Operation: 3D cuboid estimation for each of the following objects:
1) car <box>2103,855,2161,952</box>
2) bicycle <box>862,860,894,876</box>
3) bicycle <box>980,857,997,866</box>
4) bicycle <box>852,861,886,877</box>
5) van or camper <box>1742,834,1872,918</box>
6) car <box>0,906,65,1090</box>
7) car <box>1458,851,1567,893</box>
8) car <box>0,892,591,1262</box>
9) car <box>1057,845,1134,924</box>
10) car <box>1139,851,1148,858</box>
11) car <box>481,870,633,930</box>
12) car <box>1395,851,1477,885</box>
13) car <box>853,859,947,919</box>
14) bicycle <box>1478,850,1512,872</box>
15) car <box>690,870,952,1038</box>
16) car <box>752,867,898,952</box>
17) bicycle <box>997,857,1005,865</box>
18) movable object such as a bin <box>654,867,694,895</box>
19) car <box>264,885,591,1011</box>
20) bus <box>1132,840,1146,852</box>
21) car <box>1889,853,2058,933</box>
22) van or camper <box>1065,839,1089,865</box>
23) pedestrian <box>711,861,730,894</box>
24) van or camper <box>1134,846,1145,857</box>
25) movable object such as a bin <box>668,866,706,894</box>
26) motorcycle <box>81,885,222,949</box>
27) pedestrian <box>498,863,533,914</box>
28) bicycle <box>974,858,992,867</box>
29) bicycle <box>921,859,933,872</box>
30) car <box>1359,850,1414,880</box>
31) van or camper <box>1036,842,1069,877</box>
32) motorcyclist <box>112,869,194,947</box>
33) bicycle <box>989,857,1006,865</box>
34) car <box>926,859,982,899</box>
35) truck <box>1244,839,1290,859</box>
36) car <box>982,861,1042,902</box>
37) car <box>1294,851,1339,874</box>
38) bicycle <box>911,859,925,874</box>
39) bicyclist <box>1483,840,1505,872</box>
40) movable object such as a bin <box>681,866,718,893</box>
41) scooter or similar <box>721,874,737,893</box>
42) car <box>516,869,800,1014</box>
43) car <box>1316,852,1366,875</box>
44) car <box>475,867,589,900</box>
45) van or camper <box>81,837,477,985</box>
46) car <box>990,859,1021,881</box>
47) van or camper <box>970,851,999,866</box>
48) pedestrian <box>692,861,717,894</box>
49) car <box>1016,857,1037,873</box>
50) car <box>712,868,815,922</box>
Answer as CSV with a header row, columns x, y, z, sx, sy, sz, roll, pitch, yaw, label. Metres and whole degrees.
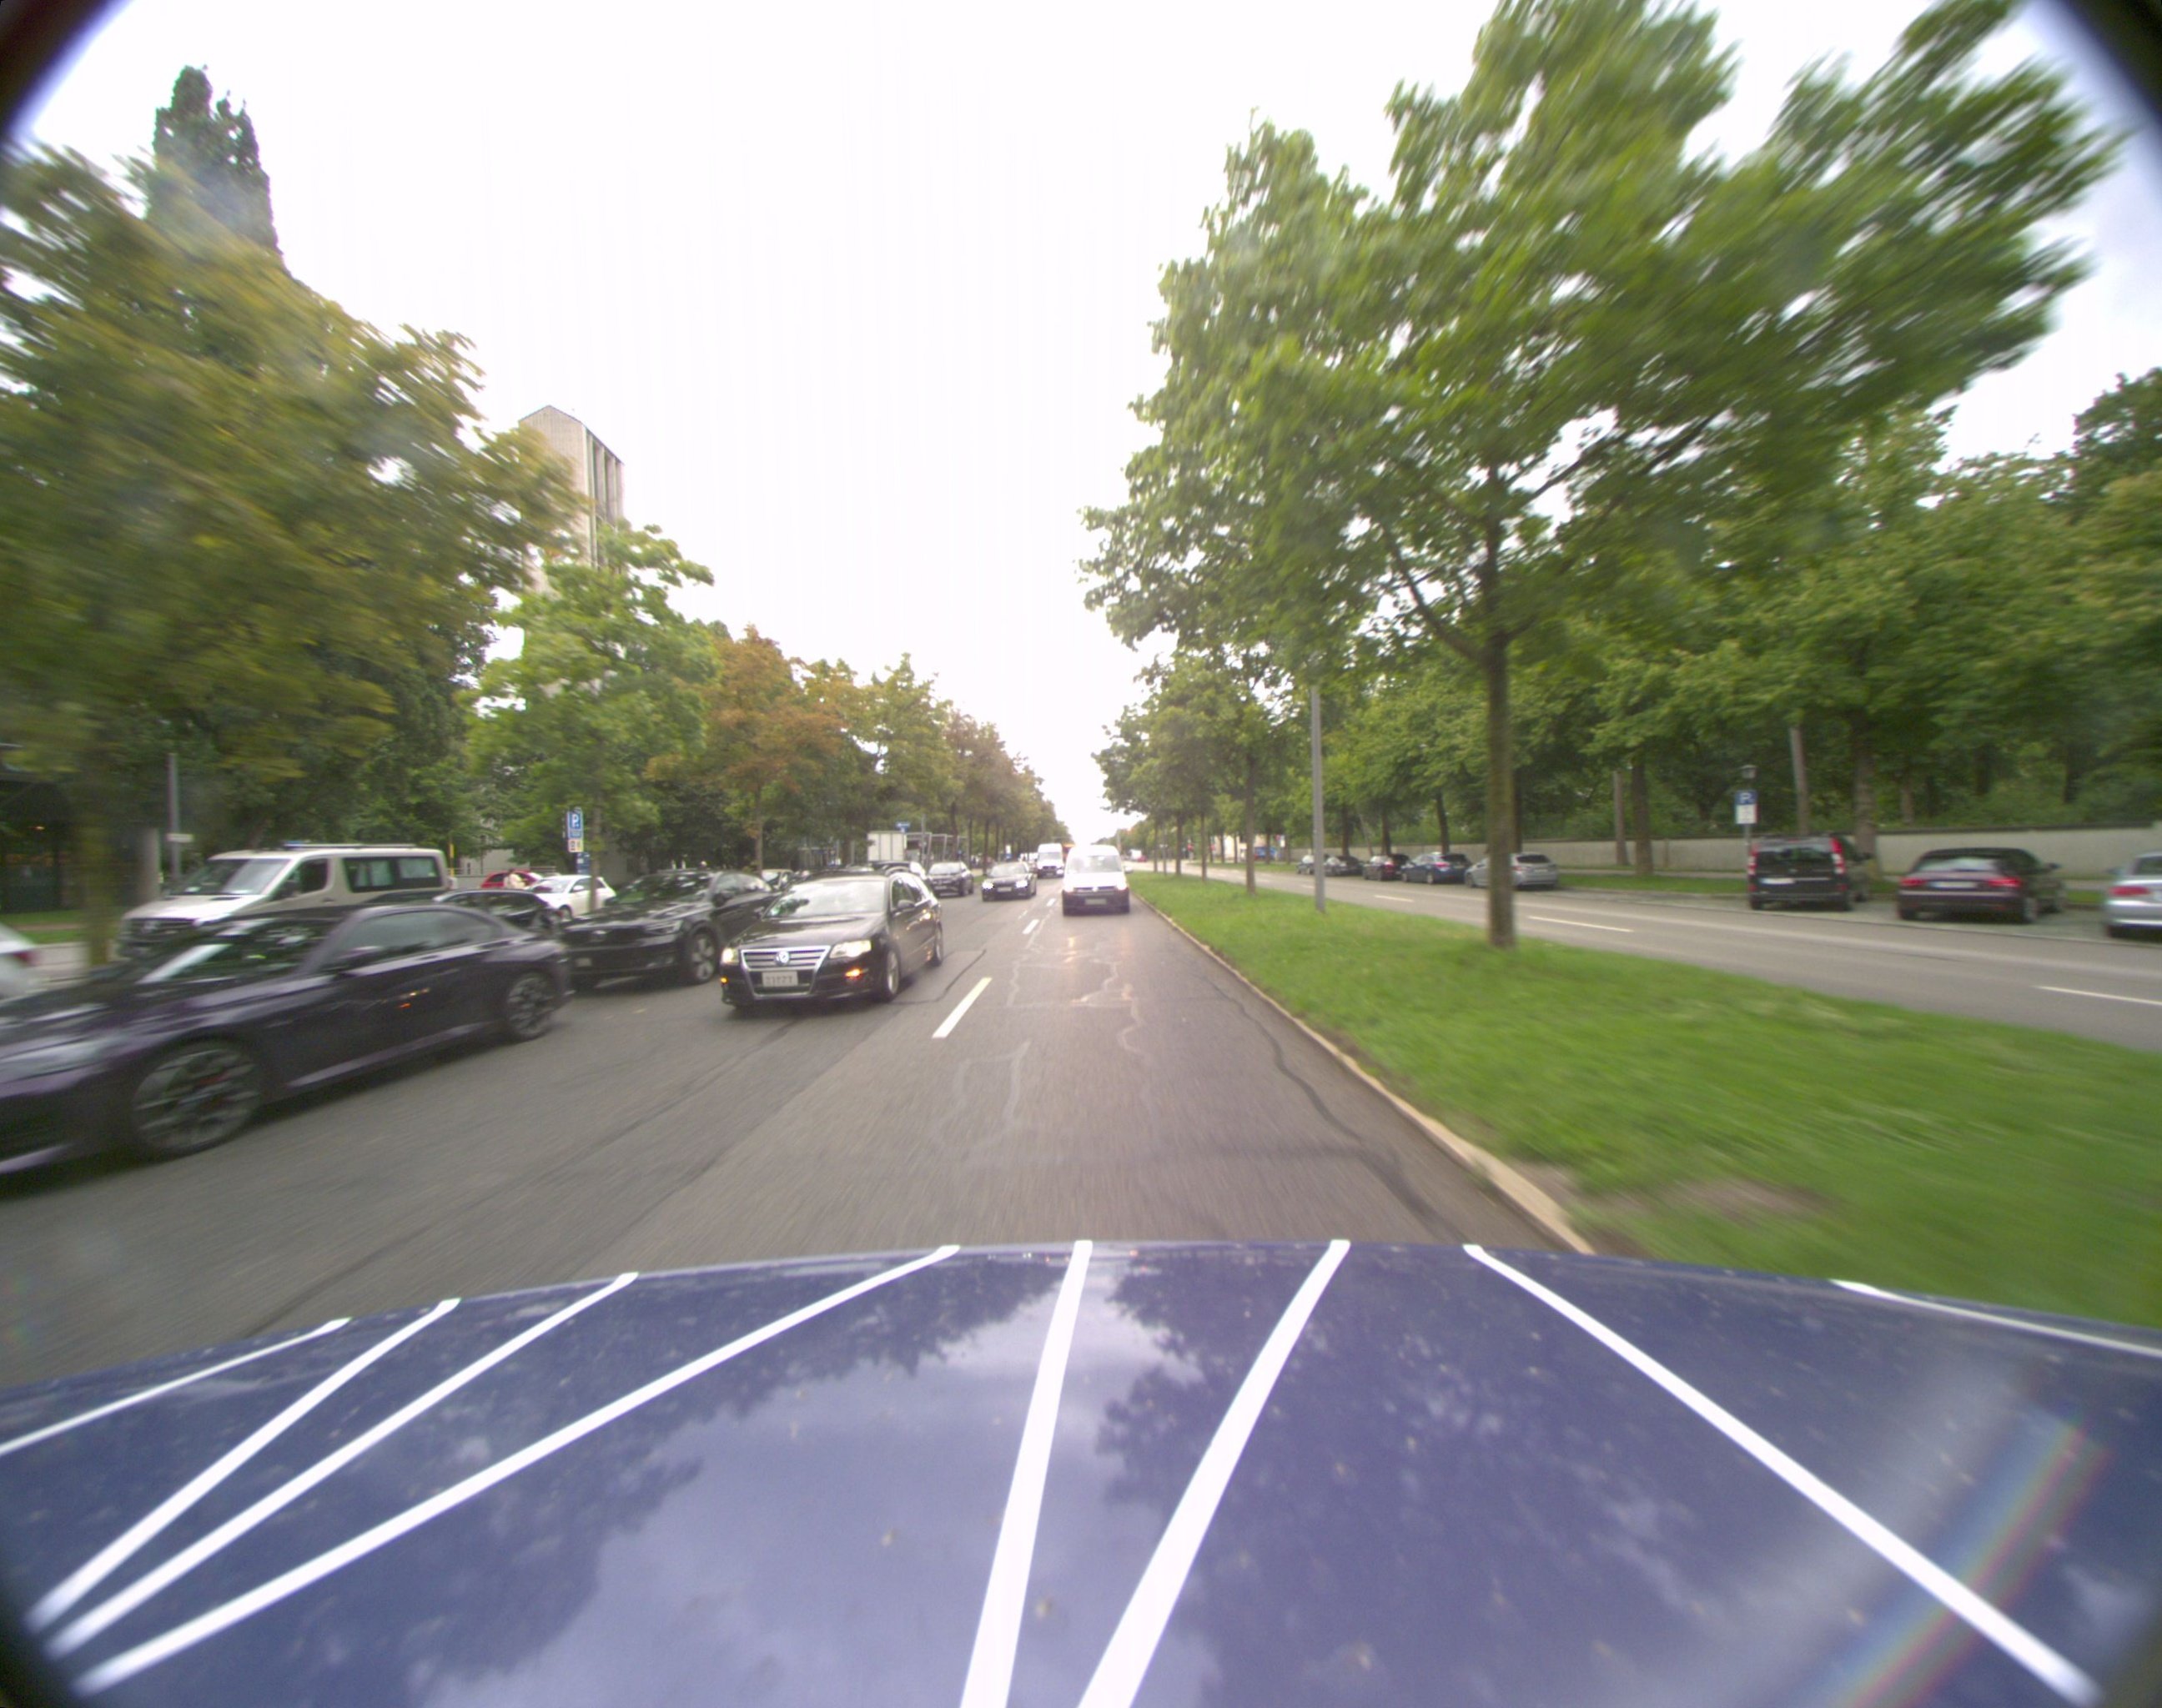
x,y,z,sx,sy,sz,roll,pitch,yaw,label
17.801,0.727,11.949,4.007,1.346,1.846,-1,0,-34,car
-17.825,1.233,66.751,2.548,1.273,0.647,-1,1,1,bicycle
-13.249,1.070,108.350,2.344,1.151,0.529,1,0,0,bicycle
-17.468,1.241,62.563,2.548,1.273,0.647,-1,1,1,bicycle
17.991,0.461,18.769,4.133,1.844,1.845,-2,0,-40,van or camper
-10.325,1.297,5.042,1.688,1.576,4.009,-2,0,1,car
16.841,0.655,29.946,1.640,1.430,4.809,-3,0,2,car
-6.030,1.197,5.690,1.769,1.537,4.424,-2,0,1,car
0.375,0.718,20.163,1.752,1.809,4.671,-2,0,1,car
13.820,0.068,167.638,1.747,1.443,4.657,1,0,1,car
-16.571,1.394,24.335,1.998,1.641,4.000,-1,0,1,car
16.913,0.626,36.480,1.590,1.450,4.798,-3,0,0,car
-5.770,1.059,24.860,1.766,1.691,4.820,-2,0,2,car
22.784,0.375,41.832,0.715,1.154,2.116,-1,0,1,bicycle
-2.944,1.029,9.777,1.752,1.466,4.671,-2,0,-1,car
-5.913,1.204,18.160,1.726,1.642,4.390,-2,0,4,car
-12.700,1.096,120.925,0.863,1.191,2.000,0,0,5,bicycle
-21.311,1.410,39.784,1.339,1.401,1.314,-1,1,-1,movable object such as a bin
-10.048,1.340,12.192,1.752,1.470,4.008,-2,0,-1,car
16.559,-2.227,217.827,2.752,3.324,12.047,0,0,-1,bus
18.082,0.709,15.369,3.626,1.346,1.749,-2,0,-33,car
-0.484,-0.278,97.367,2.780,3.219,7.074,-1,0,1,van or camper
-18.879,1.232,39.793,0.540,1.711,0.987,1,1,1,pedestrian
14.003,-0.594,181.718,2.183,2.631,6.951,0,0,1,van or camper
-21.311,1.407,41.134,1.339,1.401,1.314,-1,1,-1,movable object such as a bin
-21.662,1.441,17.785,0.697,1.283,2.066,3,0,1,motorcycle
-19.845,1.191,26.672,0.576,1.741,0.732,-1,1,5,pedestrian
-13.501,1.169,104.945,2.344,1.151,0.529,1,0,0,bicycle
-15.353,1.127,75.836,0.646,1.273,2.550,-1,0,1,bicycle
16.773,0.579,41.872,1.574,1.494,4.304,-3,0,5,car
-2.171,0.432,59.836,2.183,2.546,7.074,-1,0,1,van or camper
-21.645,1.232,17.746,0.693,1.727,0.953,3,1,1,motorcyclist
-12.202,1.076,111.314,2.344,1.151,0.585,1,0,0,bicycle
-5.674,1.081,34.516,1.766,1.580,4.452,-2,0,0,car
34.768,-0.982,142.224,7.817,3.468,2.772,-1,0,2,truck
-2.675,1.037,30.463,1.819,1.421,4.671,-2,0,1,car
17.267,0.591,56.048,1.804,1.481,4.915,-3,0,1,car
-15.143,1.130,70.518,0.646,1.273,2.550,-1,0,1,bicycle
22.779,0.087,41.883,0.707,1.737,0.922,-1,1,1,bicyclist
-21.304,1.405,42.482,1.339,1.401,1.314,-1,1,-1,movable object such as a bin
-18.859,1.573,40.727,0.501,1.012,0.833,1,1,1,scooter or similar
-6.031,1.125,11.580,1.769,1.642,4.424,-2,0,1,car
17.108,0.609,50.201,1.663,1.388,4.707,-3,0,1,car
-22.454,1.200,31.191,3.450,1.145,1.561,-2,0,-3,car
-16.359,0.983,16.239,1.998,2.543,5.956,-1,0,1,van or camper
-5.334,1.085,53.998,1.657,1.425,4.482,-2,0,0,car
-15.571,0.639,123.012,2.144,2.283,6.207,-1,0,18,van or camper
-19.899,1.235,40.178,0.830,1.711,0.940,1,1,1,pedestrian
-5.160,1.037,72.295,1.638,1.445,4.078,-2,0,1,car
-10.417,1.300,25.270,1.768,1.479,3.999,-3,0,-2,car
